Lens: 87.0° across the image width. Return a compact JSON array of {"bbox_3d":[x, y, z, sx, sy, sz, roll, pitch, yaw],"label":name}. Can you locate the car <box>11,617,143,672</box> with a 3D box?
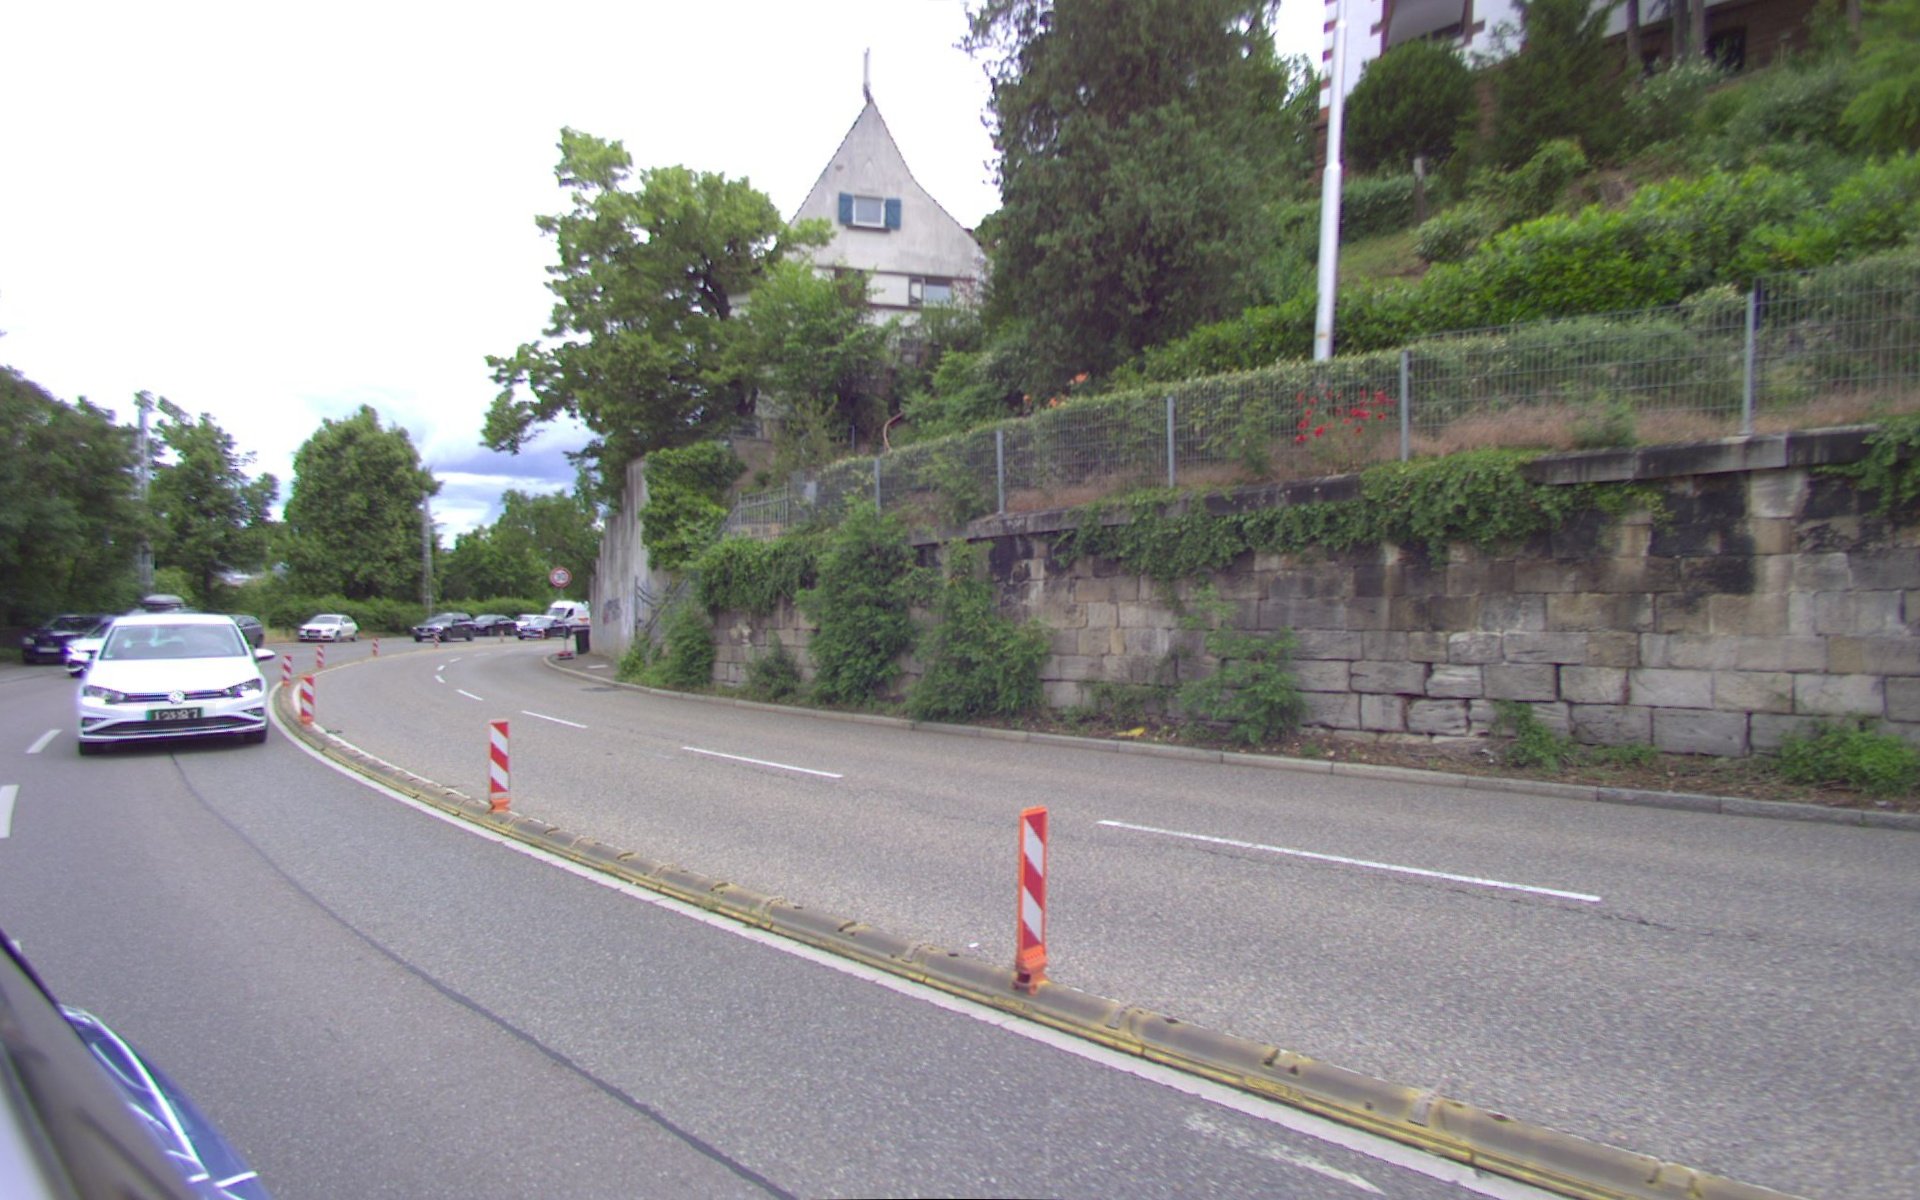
[{"bbox_3d":[-26.859,1.370,30.939,1.670,1.534,3.929,3,-3,-20],"label":"car"}]

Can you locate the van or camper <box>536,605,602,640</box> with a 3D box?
[{"bbox_3d":[-31.187,1.787,80.935,2.246,2.648,5.395,0,-1,15],"label":"van or camper"}]

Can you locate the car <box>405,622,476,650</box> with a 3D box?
[{"bbox_3d":[-29.619,2.030,57.870,1.876,1.505,4.140,0,-1,1],"label":"car"}]

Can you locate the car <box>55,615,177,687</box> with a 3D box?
[{"bbox_3d":[-22.379,1.277,26.992,1.966,1.731,4.011,0,-1,-32],"label":"car"}]

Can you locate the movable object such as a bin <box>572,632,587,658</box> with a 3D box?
[{"bbox_3d":[-14.112,1.669,37.542,0.519,0.970,0.401,0,-2,-19],"label":"movable object such as a bin"}]

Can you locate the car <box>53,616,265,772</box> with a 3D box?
[{"bbox_3d":[-10.025,1.001,12.715,1.798,1.592,4.364,1,-1,-39],"label":"car"}]

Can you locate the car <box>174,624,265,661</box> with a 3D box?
[{"bbox_3d":[-30.697,1.736,42.083,1.901,1.444,4.012,0,-1,-18],"label":"car"}]

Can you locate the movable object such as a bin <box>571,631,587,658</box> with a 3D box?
[{"bbox_3d":[-13.876,1.633,36.888,0.519,0.970,0.461,0,-2,-19],"label":"movable object such as a bin"}]

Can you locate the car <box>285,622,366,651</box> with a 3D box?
[{"bbox_3d":[-32.973,1.882,52.707,1.906,1.444,4.003,1,-1,-4],"label":"car"}]

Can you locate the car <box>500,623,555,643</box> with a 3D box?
[{"bbox_3d":[-32.021,2.396,75.043,1.856,1.444,4.085,0,-1,10],"label":"car"}]

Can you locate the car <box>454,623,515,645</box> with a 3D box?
[{"bbox_3d":[-32.463,2.291,69.231,1.911,1.444,4.091,0,-1,6],"label":"car"}]

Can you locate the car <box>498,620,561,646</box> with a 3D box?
[{"bbox_3d":[-27.868,2.111,65.618,1.903,1.505,4.131,0,1,8],"label":"car"}]

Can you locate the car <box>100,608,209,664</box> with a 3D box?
[{"bbox_3d":[-28.874,1.255,36.421,1.670,1.846,4.418,3,-2,-20],"label":"car"}]
